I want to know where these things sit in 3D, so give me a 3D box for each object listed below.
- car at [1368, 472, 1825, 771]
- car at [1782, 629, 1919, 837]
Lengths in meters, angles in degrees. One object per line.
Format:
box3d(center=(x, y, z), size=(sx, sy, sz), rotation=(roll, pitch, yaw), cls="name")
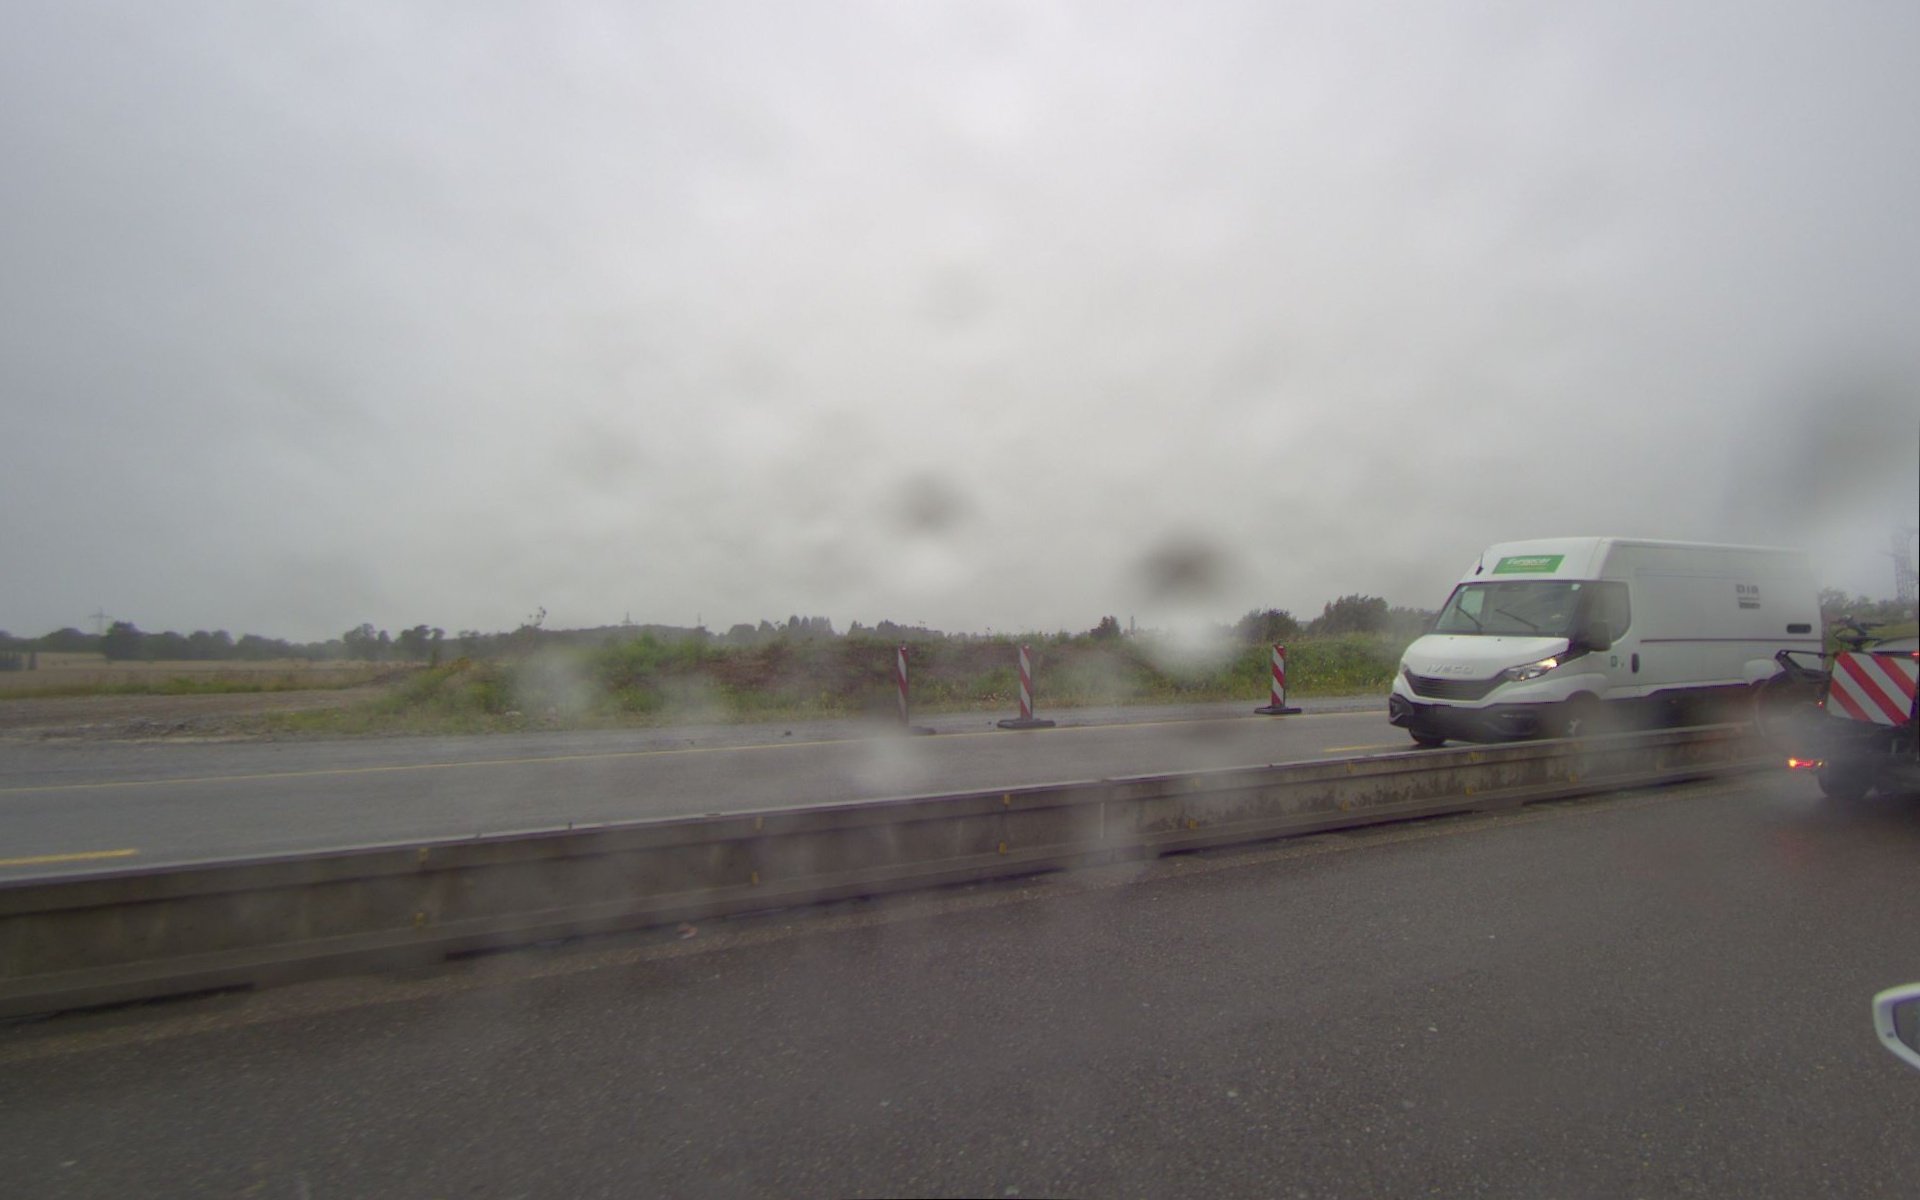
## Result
box3d(center=(8.471, 0.288, 13.032), size=(7.087, 3.086, 1.984), rotation=(1, 0, -31), cls="car")
box3d(center=(9.608, 1.024, 8.948), size=(5.562, 1.482, 1.726), rotation=(0, 0, -30), cls="car")
